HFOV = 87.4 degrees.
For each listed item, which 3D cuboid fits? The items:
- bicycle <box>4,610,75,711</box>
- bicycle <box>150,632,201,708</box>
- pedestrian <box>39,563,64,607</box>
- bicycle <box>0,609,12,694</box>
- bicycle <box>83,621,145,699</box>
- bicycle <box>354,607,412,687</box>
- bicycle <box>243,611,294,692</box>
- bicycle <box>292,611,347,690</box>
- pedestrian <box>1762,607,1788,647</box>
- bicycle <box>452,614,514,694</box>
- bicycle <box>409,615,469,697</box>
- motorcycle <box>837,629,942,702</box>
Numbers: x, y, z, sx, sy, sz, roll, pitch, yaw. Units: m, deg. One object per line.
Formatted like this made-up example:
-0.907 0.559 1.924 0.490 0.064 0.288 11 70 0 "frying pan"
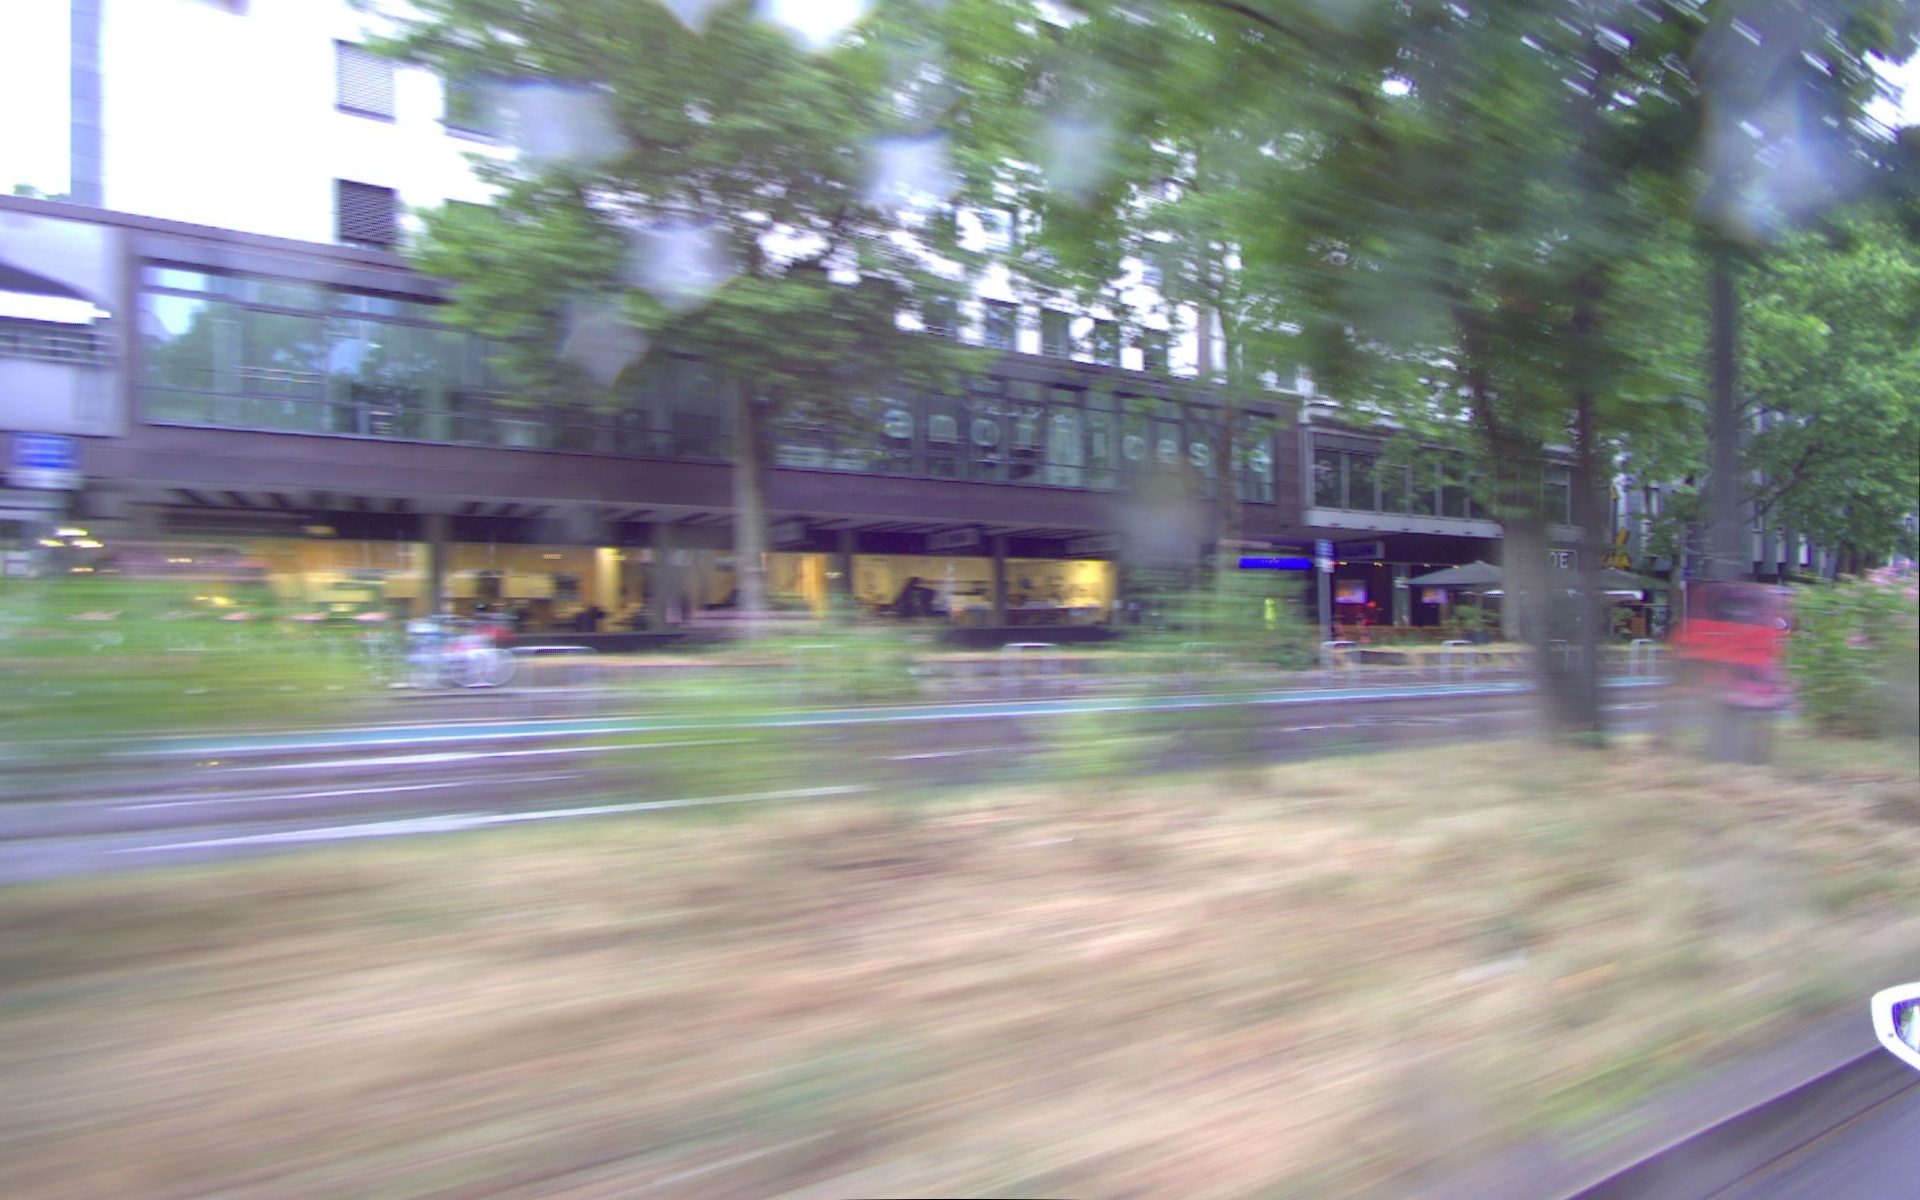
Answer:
-12.133 0.762 13.275 0.505 1.258 1.606 1 -1 -36 "bicycle"
-10.942 0.947 14.032 0.505 0.975 1.606 1 -1 -36 "bicycle"
-43.692 -0.717 48.310 0.656 2.040 0.752 2 0 -28 "pedestrian"
-12.813 0.674 12.971 0.609 1.112 1.831 1 -1 -37 "bicycle"
-11.575 0.794 13.768 0.561 0.992 1.452 1 -1 -37 "bicycle"
-8.866 0.683 15.412 0.560 1.152 1.831 1 -1 -36 "bicycle"
-10.036 0.715 14.562 0.560 1.106 1.658 1 -1 -36 "bicycle"
-9.569 0.720 14.982 0.560 1.112 1.808 1 -1 -36 "bicycle"
41.762 1.368 51.466 0.628 2.040 0.876 1 0 -30 "pedestrian"
-7.443 0.808 15.641 0.560 1.165 1.832 0 -1 -35 "bicycle"
-7.859 0.806 15.111 0.560 1.152 1.832 0 -1 -35 "bicycle"
-1.179 1.053 16.621 1.748 1.099 0.495 1 0 31 "motorcycle"
